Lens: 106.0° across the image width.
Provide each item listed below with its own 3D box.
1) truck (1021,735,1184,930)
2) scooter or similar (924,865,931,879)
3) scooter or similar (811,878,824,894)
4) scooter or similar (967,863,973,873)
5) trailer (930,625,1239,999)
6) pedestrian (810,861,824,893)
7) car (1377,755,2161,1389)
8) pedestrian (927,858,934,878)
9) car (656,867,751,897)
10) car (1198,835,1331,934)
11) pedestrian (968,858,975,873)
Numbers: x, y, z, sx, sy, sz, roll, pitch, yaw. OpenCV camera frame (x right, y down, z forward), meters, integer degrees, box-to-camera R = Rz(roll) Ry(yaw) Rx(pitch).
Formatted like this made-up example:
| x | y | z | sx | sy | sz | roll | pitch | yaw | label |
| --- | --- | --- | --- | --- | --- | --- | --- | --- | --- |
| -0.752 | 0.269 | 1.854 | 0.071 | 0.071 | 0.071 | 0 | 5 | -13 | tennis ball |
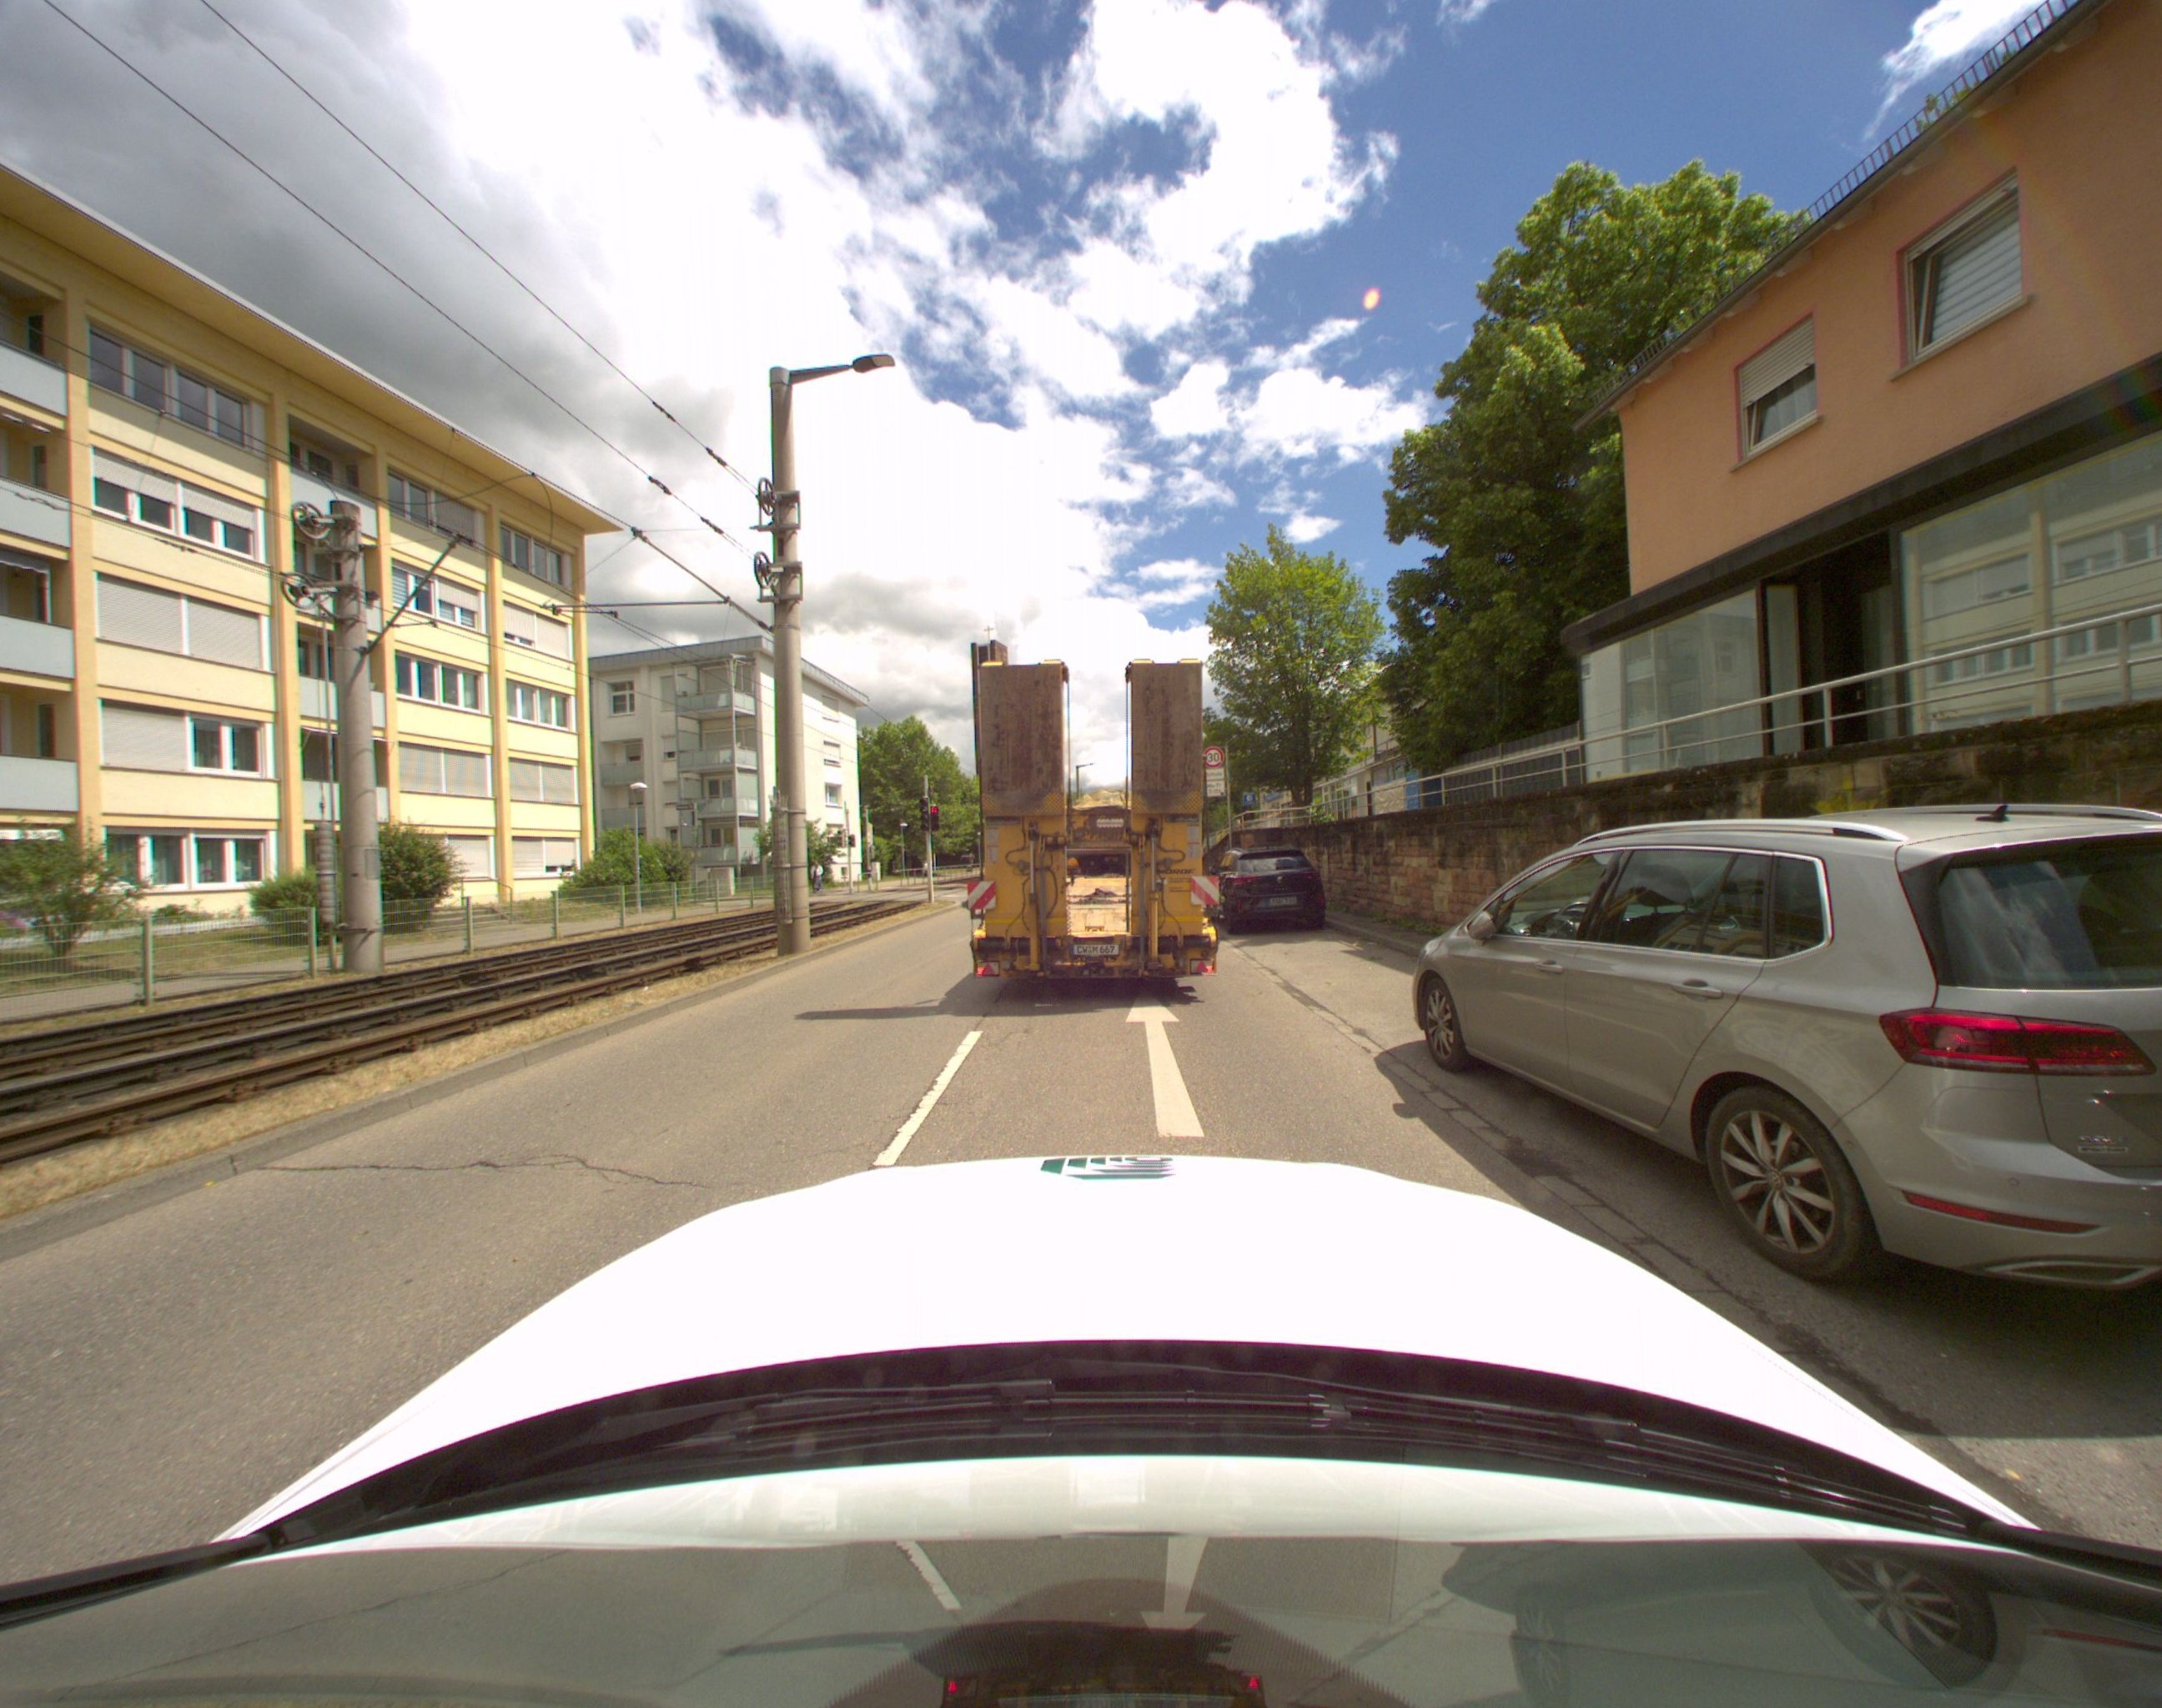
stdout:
| x | y | z | sx | sy | sz | roll | pitch | yaw | label |
| --- | --- | --- | --- | --- | --- | --- | --- | --- | --- |
| 0.512 | -0.407 | 17.766 | 2.931 | 3.572 | 4.880 | -2 | 0 | 2 | truck |
| -11.854 | 1.360 | 63.038 | 0.336 | 1.057 | 0.688 | -2 | 0 | 5 | scooter or similar |
| -12.909 | 1.550 | 39.885 | 0.435 | 0.747 | 0.475 | -2 | 0 | 7 | scooter or similar |
| -10.810 | 1.386 | 79.423 | 0.504 | 0.971 | 0.646 | 0 | -1 | 1 | scooter or similar |
| 0.245 | -0.415 | 12.410 | 2.933 | 3.601 | 8.690 | -2 | 0 | 3 | trailer |
| -13.102 | 1.130 | 40.368 | 0.435 | 1.581 | 0.475 | -2 | 0 | 7 | pedestrian |
| 3.214 | 0.542 | 4.245 | 1.783 | 1.618 | 4.249 | -3 | 0 | 1 | car |
| -11.782 | 1.120 | 63.739 | 0.346 | 1.537 | 0.558 | -2 | 0 | 6 | pedestrian |
| -19.199 | 1.424 | 41.532 | 3.962 | 1.346 | 1.906 | -2 | 0 | 9 | car |
| 3.480 | 0.544 | 16.214 | 1.843 | 1.639 | 4.003 | -3 | 0 | 3 | car |
| -10.774 | 1.115 | 80.078 | 0.562 | 1.514 | 0.646 | 0 | -1 | 1 | pedestrian |
